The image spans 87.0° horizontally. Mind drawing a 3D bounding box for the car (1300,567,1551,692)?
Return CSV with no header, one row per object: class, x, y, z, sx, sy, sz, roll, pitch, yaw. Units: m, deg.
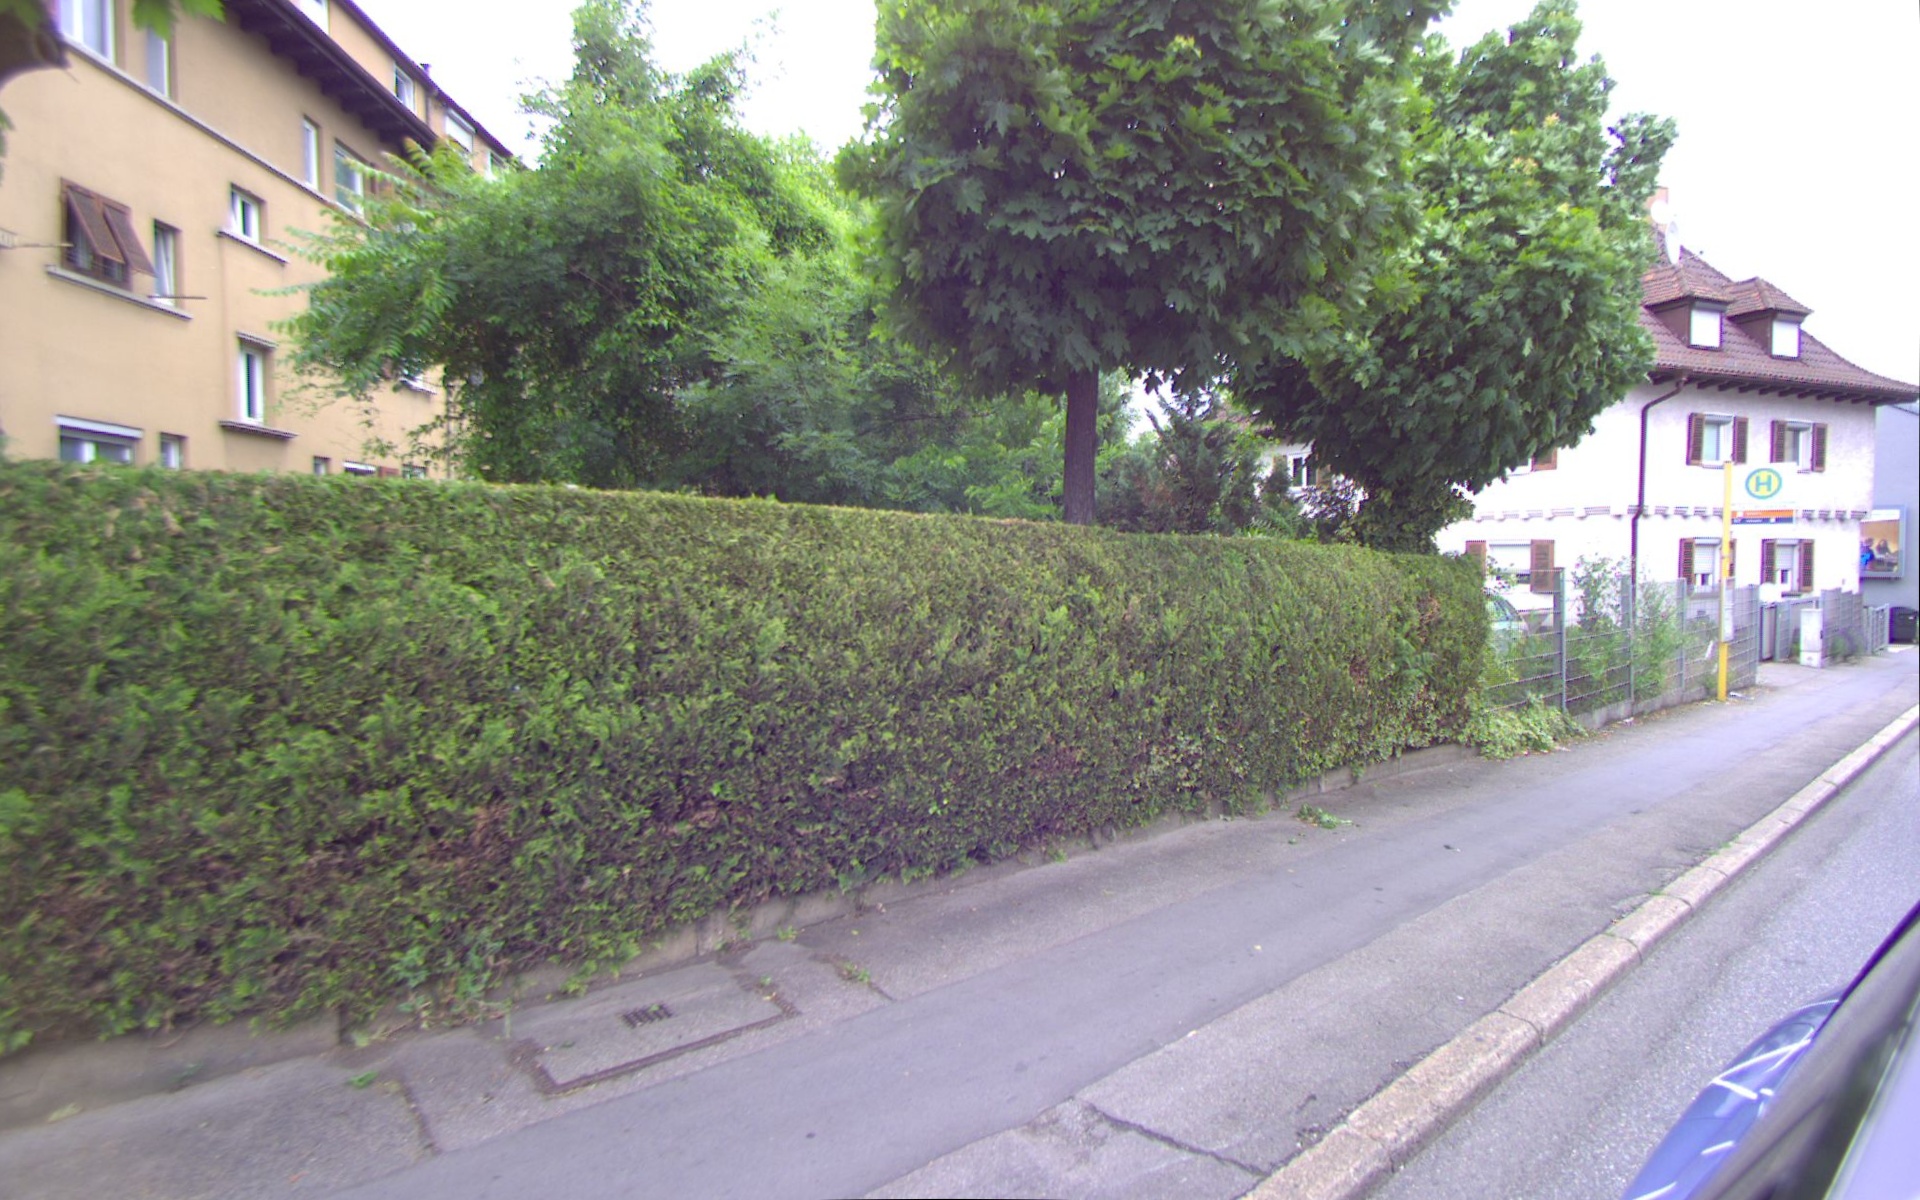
car,6.559,0.340,14.039,1.800,1.439,4.195,3,2,45
